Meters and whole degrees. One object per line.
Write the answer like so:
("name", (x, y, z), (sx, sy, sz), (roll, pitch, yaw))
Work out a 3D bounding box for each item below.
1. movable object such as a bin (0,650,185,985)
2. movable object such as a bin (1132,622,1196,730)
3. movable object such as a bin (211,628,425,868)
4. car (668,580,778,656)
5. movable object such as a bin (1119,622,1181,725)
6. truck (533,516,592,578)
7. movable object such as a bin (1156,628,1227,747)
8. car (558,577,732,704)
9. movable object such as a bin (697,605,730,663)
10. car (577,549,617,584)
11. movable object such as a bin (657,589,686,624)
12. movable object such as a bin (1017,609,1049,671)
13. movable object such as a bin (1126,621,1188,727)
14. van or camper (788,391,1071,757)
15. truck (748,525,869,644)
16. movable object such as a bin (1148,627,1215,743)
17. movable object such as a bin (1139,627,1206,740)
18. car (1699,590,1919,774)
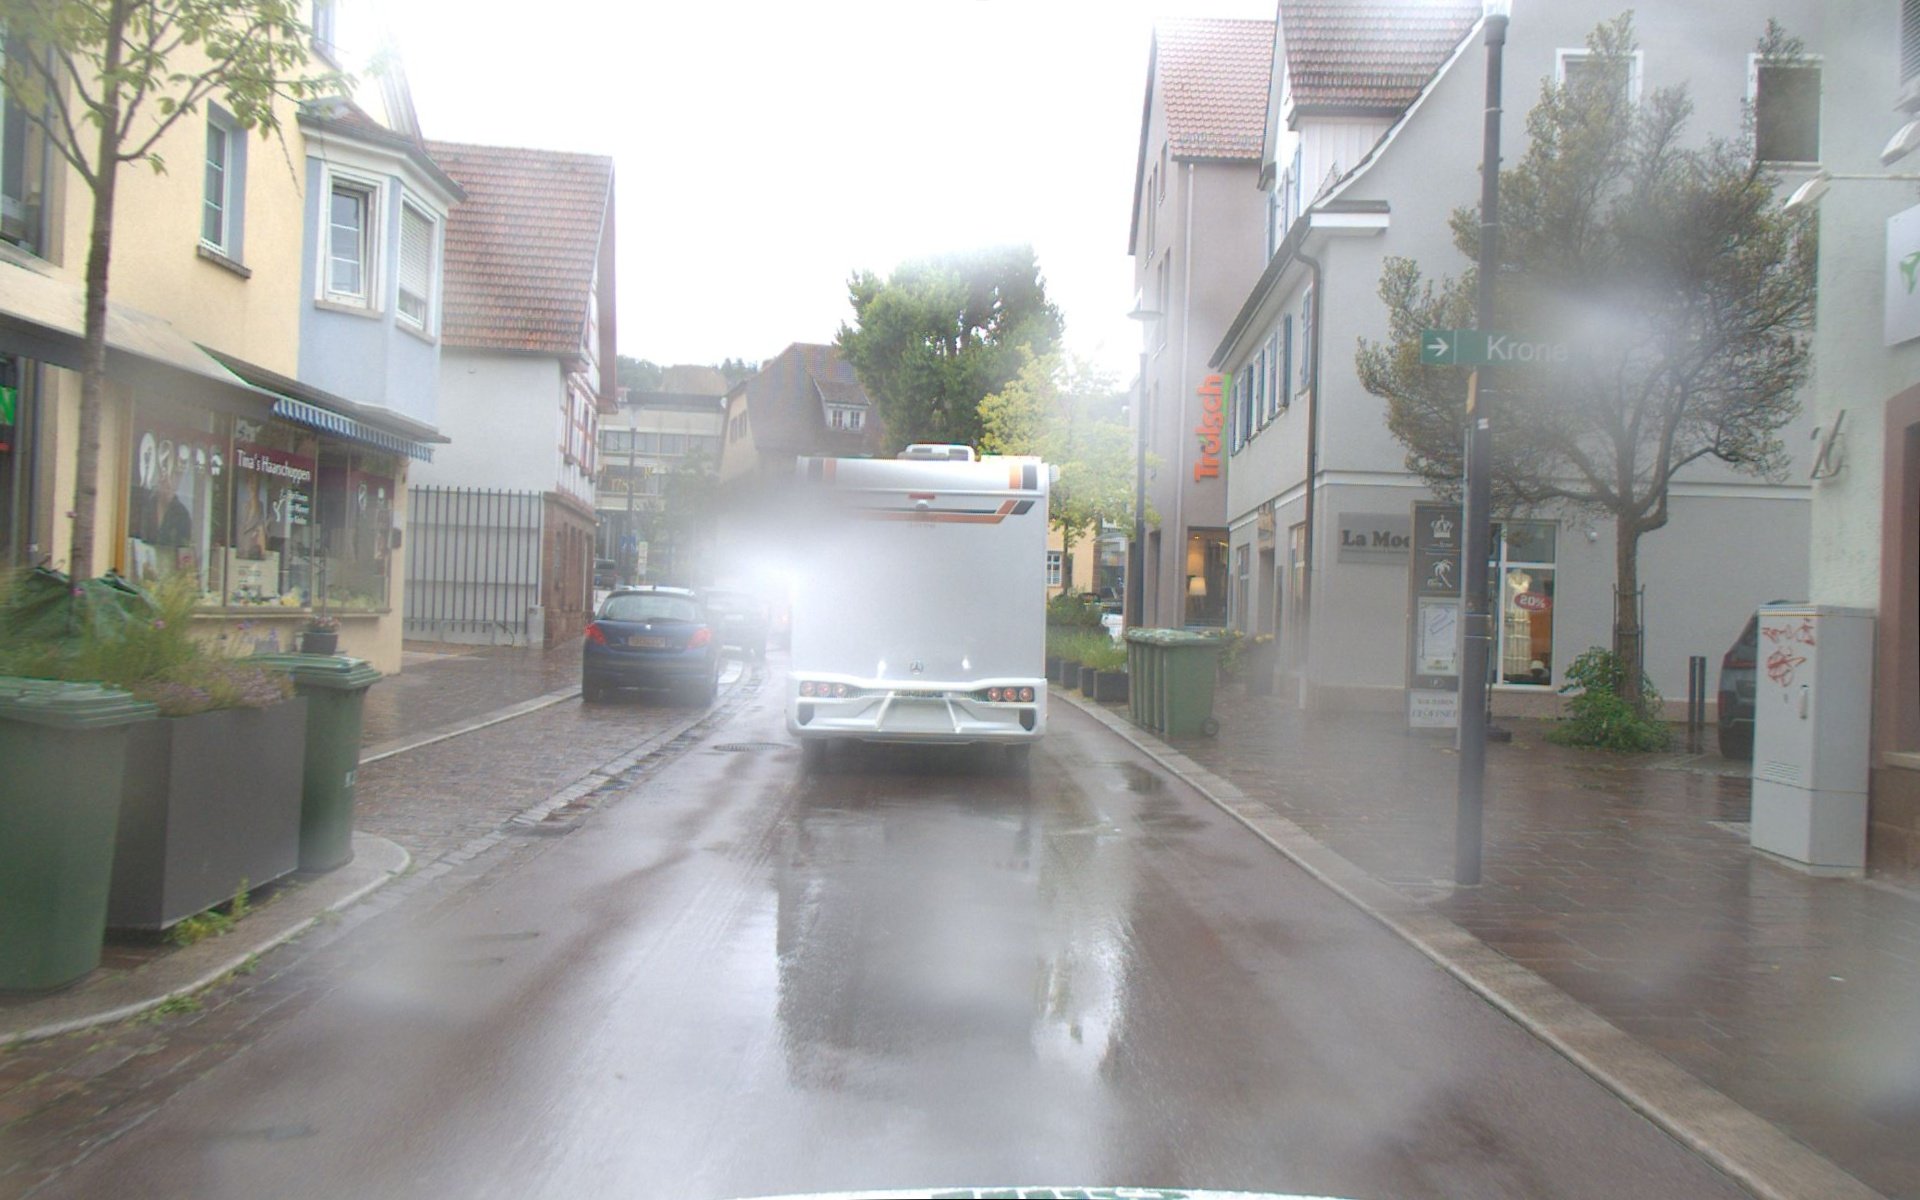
("movable object such as a bin", (-3.344, 0.755, 5.961), (0.799, 1.125, 0.609), (2, -1, -6))
("movable object such as a bin", (2.428, 0.901, 19.721), (0.664, 1.254, 0.564), (1, -1, -2))
("movable object such as a bin", (-3.270, 0.741, 8.485), (0.799, 1.125, 0.609), (5, -1, -6))
("car", (-5.420, 0.370, 37.446), (1.960, 1.520, 3.985), (3, 0, -15))
("movable object such as a bin", (2.397, 0.917, 20.950), (0.664, 1.262, 0.731), (1, -1, -2))
("truck", (-20.177, -2.626, 83.756), (2.246, 2.806, 5.536), (2, -1, -20))
("movable object such as a bin", (2.513, 0.942, 18.017), (0.645, 1.260, 0.621), (1, -1, -2))
("car", (-4.193, 0.495, 22.595), (1.955, 1.497, 3.995), (2, 0, -6))
("movable object such as a bin", (-4.977, 0.685, 33.410), (0.618, 1.133, 0.732), (2, -1, -9))
("car", (-23.065, -2.116, 104.979), (1.963, 2.049, 3.978), (2, -1, -19))
("movable object such as a bin", (-9.189, 0.215, 52.714), (0.805, 1.069, 0.696), (2, -1, -17))
("movable object such as a bin", (1.415, 0.781, 32.178), (0.533, 1.176, 0.576), (1, -1, -4))
("movable object such as a bin", (2.411, 0.902, 20.296), (0.664, 1.272, 0.564), (1, -1, -2))
("van or camper", (-0.448, -0.164, 16.905), (2.280, 2.970, 6.388), (1, -1, -4))
("truck", (-4.274, -0.354, 45.636), (2.419, 2.990, 6.176), (2, -1, -13))
("movable object such as a bin", (2.489, 0.949, 18.602), (0.645, 1.267, 0.542), (1, -1, -2))
("movable object such as a bin", (2.453, 0.956, 19.156), (0.664, 1.278, 0.542), (1, -1, -2))
("car", (9.498, 0.757, 17.795), (1.790, 1.684, 4.339), (1, 1, 39))
